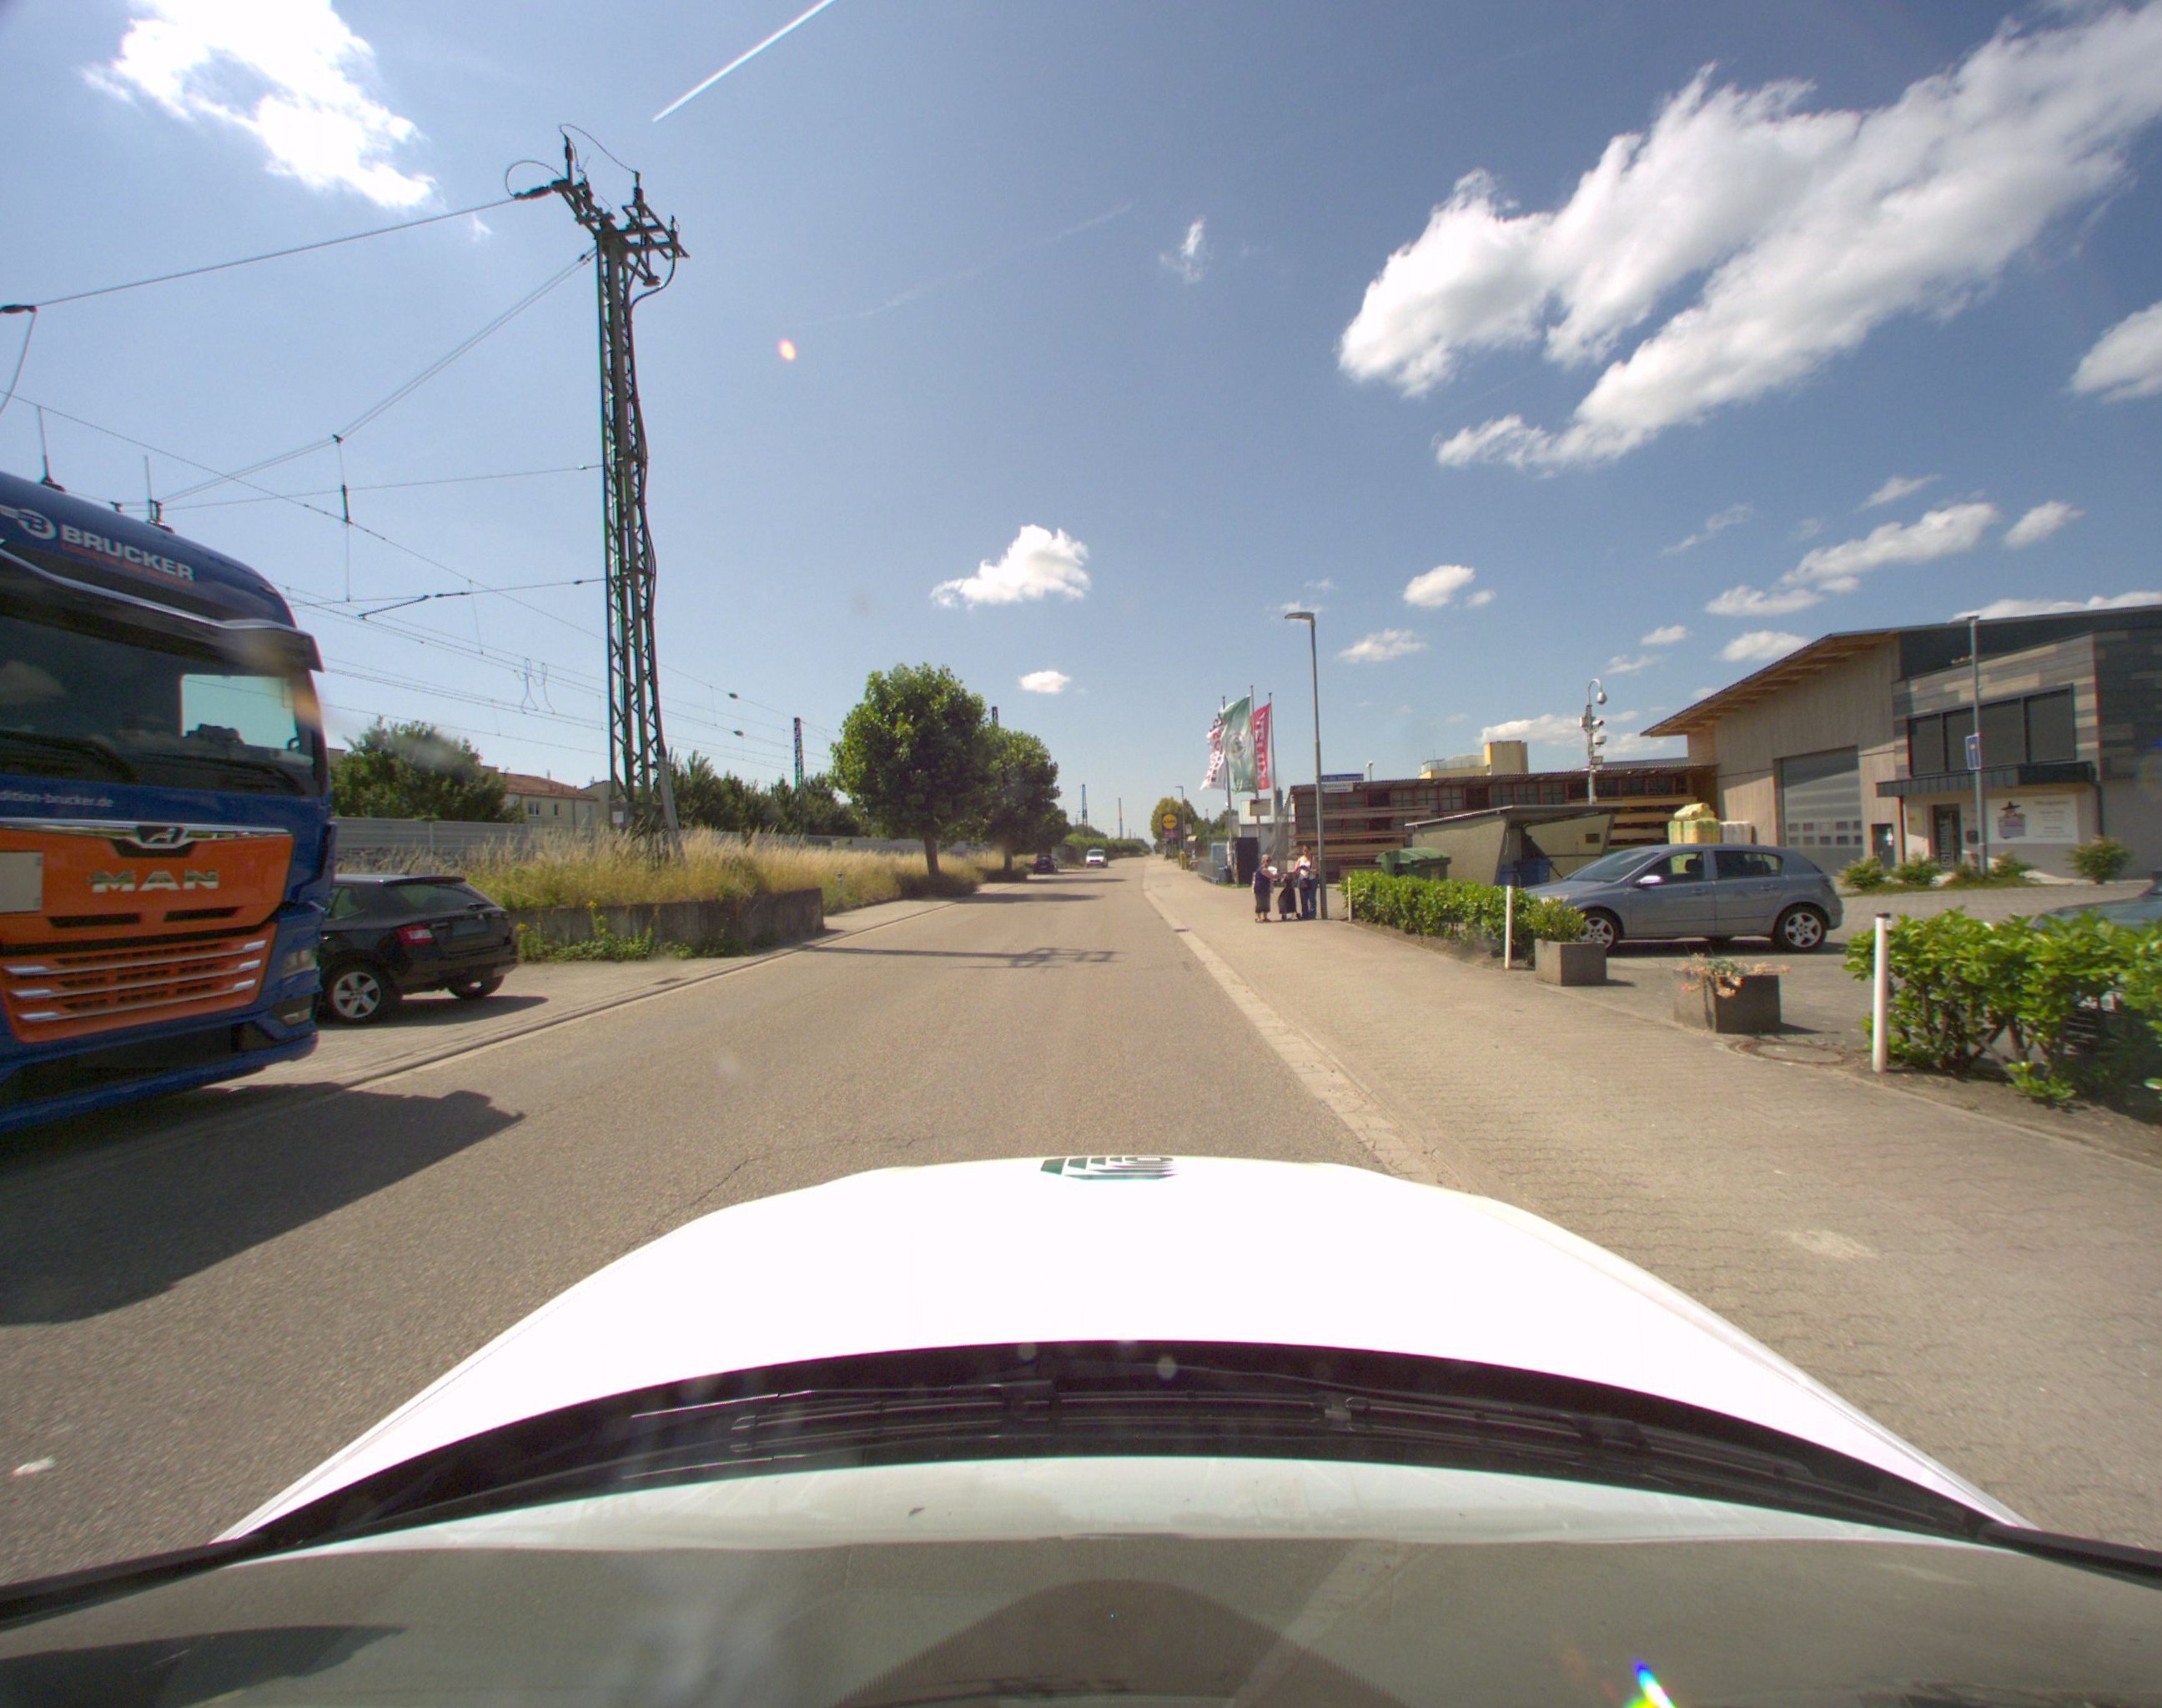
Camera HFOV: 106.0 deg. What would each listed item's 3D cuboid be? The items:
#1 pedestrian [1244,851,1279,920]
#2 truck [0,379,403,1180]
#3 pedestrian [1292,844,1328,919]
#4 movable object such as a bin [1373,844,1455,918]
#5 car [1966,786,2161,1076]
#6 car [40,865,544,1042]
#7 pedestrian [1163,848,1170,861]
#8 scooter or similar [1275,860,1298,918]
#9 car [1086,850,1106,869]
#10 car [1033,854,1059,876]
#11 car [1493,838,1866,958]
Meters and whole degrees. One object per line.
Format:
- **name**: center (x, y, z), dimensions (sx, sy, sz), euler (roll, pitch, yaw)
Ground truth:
- **pedestrian**: center (3.849, 0.672, 17.382), dimensions (0.563, 1.405, 0.584), euler (-3, -2, 2)
- **truck**: center (-8.413, -0.220, 4.703), dimensions (6.592, 3.823, 2.664), euler (-3, -1, 0)
- **pedestrian**: center (4.836, 0.576, 17.209), dimensions (0.533, 1.540, 0.511), euler (-3, -2, 2)
- **movable object such as a bin**: center (6.933, 0.541, 16.954), dimensions (1.273, 1.458, 1.038), euler (-1, 0, -35)
- **car**: center (8.167, 0.330, 4.622), dimensions (4.198, 1.634, 1.801), euler (-3, -2, 1)
- **car**: center (-8.148, 0.982, 8.687), dimensions (3.632, 1.500, 1.699), euler (-3, -2, -1)
- **pedestrian**: center (11.299, 0.047, 107.585), dimensions (0.758, 1.601, 1.211), euler (-2, 0, 2)
- **scooter or similar**: center (4.357, 0.747, 17.273), dimensions (0.332, 1.198, 0.398), euler (-3, -2, 3)
- **car**: center (1.557, 0.530, 82.369), dimensions (1.830, 1.858, 4.488), euler (-2, 0, 3)
- **car**: center (-2.684, 0.828, 63.276), dimensions (1.735, 1.596, 3.581), euler (-2, 0, 2)
- **car**: center (8.152, 0.572, 11.407), dimensions (3.829, 1.455, 1.819), euler (-2, 0, 3)
